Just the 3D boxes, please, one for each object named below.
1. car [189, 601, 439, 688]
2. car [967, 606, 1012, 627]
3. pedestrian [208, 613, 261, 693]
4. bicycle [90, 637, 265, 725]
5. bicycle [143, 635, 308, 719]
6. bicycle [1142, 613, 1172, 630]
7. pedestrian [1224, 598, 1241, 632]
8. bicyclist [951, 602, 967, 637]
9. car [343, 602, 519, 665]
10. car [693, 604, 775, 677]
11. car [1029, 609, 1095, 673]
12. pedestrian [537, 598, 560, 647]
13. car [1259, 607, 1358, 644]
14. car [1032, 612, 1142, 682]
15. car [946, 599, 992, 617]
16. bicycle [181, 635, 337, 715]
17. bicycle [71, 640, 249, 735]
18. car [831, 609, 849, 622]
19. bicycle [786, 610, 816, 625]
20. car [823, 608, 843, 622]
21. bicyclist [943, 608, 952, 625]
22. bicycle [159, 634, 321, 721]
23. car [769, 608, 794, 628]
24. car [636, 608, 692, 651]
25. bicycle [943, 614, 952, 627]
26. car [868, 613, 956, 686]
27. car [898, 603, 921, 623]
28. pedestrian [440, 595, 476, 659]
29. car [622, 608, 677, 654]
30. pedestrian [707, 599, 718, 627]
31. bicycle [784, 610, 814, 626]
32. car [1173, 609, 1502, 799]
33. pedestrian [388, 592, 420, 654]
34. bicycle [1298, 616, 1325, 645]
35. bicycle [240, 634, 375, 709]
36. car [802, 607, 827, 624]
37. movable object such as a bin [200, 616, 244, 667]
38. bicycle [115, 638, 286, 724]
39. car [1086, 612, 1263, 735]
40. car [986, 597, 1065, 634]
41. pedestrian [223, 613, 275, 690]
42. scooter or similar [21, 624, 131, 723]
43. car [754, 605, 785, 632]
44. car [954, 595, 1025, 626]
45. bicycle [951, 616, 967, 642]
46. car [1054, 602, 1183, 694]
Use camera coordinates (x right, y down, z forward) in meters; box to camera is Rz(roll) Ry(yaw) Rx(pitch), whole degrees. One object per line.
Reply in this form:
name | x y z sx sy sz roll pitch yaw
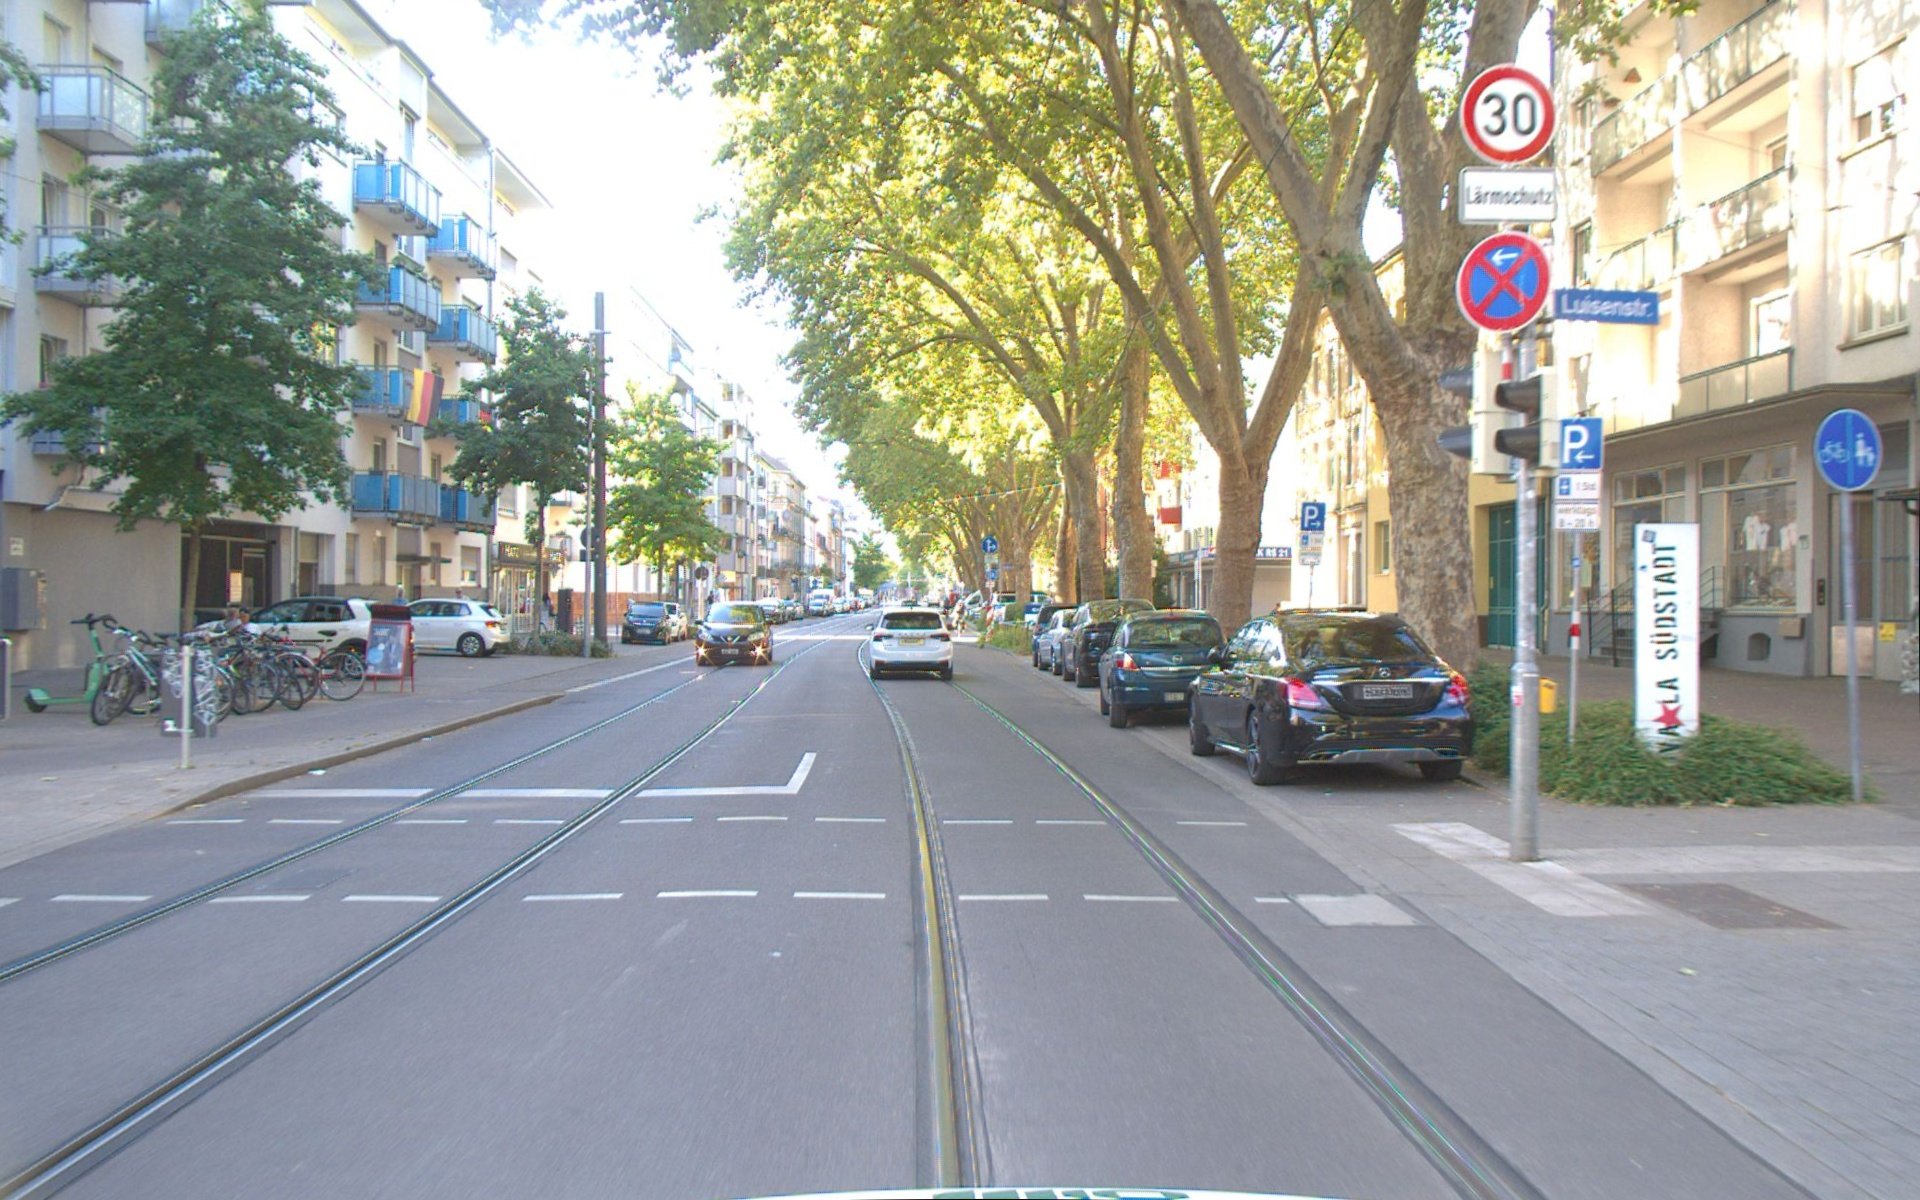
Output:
car | -12.060 0.829 31.059 3.931 1.501 1.851 1 -1 -1
car | 2.331 1.305 131.608 3.559 1.695 1.822 0 0 1
pedestrian | -12.166 0.877 27.765 0.700 1.320 0.744 0 0 -15
bicycle | -9.556 0.988 20.249 1.794 1.025 0.657 1 -1 -6
bicycle | -9.459 0.983 21.340 1.794 1.025 0.657 1 -1 -6
bicycle | 12.447 1.367 104.539 1.756 1.060 0.617 -2 -1 -6
pedestrian | 13.599 0.753 82.609 0.731 1.673 0.666 0 -1 0
bicyclist | -0.045 0.829 70.964 0.665 1.468 1.047 0 0 -1
car | -13.589 0.861 42.653 3.933 1.501 1.850 1 -1 -4
car | -5.531 0.970 40.920 1.835 1.617 4.140 3 0 -7
car | 2.584 1.043 42.281 1.531 1.545 2.910 -1 -1 1
pedestrian | -14.669 0.790 58.940 0.650 1.720 0.748 0 -1 -3
car | 15.937 1.159 75.713 4.052 1.621 1.997 1 0 -7
car | 2.821 1.060 37.749 1.781 1.461 4.598 -1 -1 -5
car | 1.205 1.095 222.687 6.008 2.322 2.527 0 0 -3
bicycle | -9.487 1.011 22.434 1.794 1.025 0.657 1 -1 -6
bicycle | -9.060 0.988 18.773 1.658 1.025 0.657 1 -1 -6
car | -14.409 1.818 199.299 1.953 1.557 3.999 0 0 -1
bicycle | -13.672 1.540 142.151 2.477 1.193 0.718 2 -2 -8
car | -14.202 1.632 185.342 1.953 1.557 3.999 0 0 -1
bicyclist | -1.020 1.319 133.200 0.636 1.368 0.934 0 0 -3
bicycle | -9.406 1.008 21.660 1.794 1.082 0.657 1 -1 -6
car | -13.421 1.349 124.224 1.620 1.462 3.834 0 0 -3
car | -11.405 1.125 63.995 1.680 1.489 4.372 4 -1 -5
bicycle | -1.014 1.657 133.184 0.636 1.089 1.582 0 0 -3
car | -1.027 0.981 34.423 1.726 1.408 3.998 0 0 -3
car | -3.878 1.004 127.929 1.726 1.501 3.999 0 0 -1
pedestrian | -13.771 0.737 45.378 0.748 1.720 0.794 0 -1 -3
car | -11.085 1.075 59.218 1.681 1.489 3.992 4 -1 -8
pedestrian | -16.441 0.862 109.895 0.650 1.858 0.965 0 -1 -3
bicycle | -13.713 1.531 141.267 2.510 1.193 0.870 4 -3 -41
car | 3.305 0.834 15.539 1.729 1.488 5.009 0 0 -3
pedestrian | -15.660 0.642 46.598 0.650 1.720 0.748 0 -1 -3
bicycle | 14.008 1.198 65.885 0.571 1.123 1.922 -1 0 -2
bicycle | -9.382 1.019 23.820 1.658 1.025 0.657 1 -1 -6
car | -13.469 1.421 153.308 1.953 1.557 3.999 0 0 -1
movable object such as a bin | -15.801 0.892 35.434 0.664 1.074 0.622 0 0 0
bicycle | -9.476 1.005 20.692 1.794 1.025 0.657 1 -1 -6
car | 2.789 0.918 22.354 1.826 1.462 4.226 -1 0 0
car | 3.798 0.913 96.907 4.454 2.113 1.999 0 0 -4
pedestrian | -12.460 0.887 28.997 0.700 1.320 0.908 0 0 -15
scooter or similar | -11.017 0.914 20.628 1.058 1.197 0.498 1 -1 -3
car | -12.508 1.189 108.900 1.668 1.679 4.239 3 0 -3
car | 2.557 0.909 143.872 6.008 2.681 2.527 0 0 -3
bicycle | -0.042 1.240 71.076 0.667 1.089 1.780 0 0 -1
car | 3.000 0.908 32.352 1.821 1.631 4.779 -1 -1 -3
